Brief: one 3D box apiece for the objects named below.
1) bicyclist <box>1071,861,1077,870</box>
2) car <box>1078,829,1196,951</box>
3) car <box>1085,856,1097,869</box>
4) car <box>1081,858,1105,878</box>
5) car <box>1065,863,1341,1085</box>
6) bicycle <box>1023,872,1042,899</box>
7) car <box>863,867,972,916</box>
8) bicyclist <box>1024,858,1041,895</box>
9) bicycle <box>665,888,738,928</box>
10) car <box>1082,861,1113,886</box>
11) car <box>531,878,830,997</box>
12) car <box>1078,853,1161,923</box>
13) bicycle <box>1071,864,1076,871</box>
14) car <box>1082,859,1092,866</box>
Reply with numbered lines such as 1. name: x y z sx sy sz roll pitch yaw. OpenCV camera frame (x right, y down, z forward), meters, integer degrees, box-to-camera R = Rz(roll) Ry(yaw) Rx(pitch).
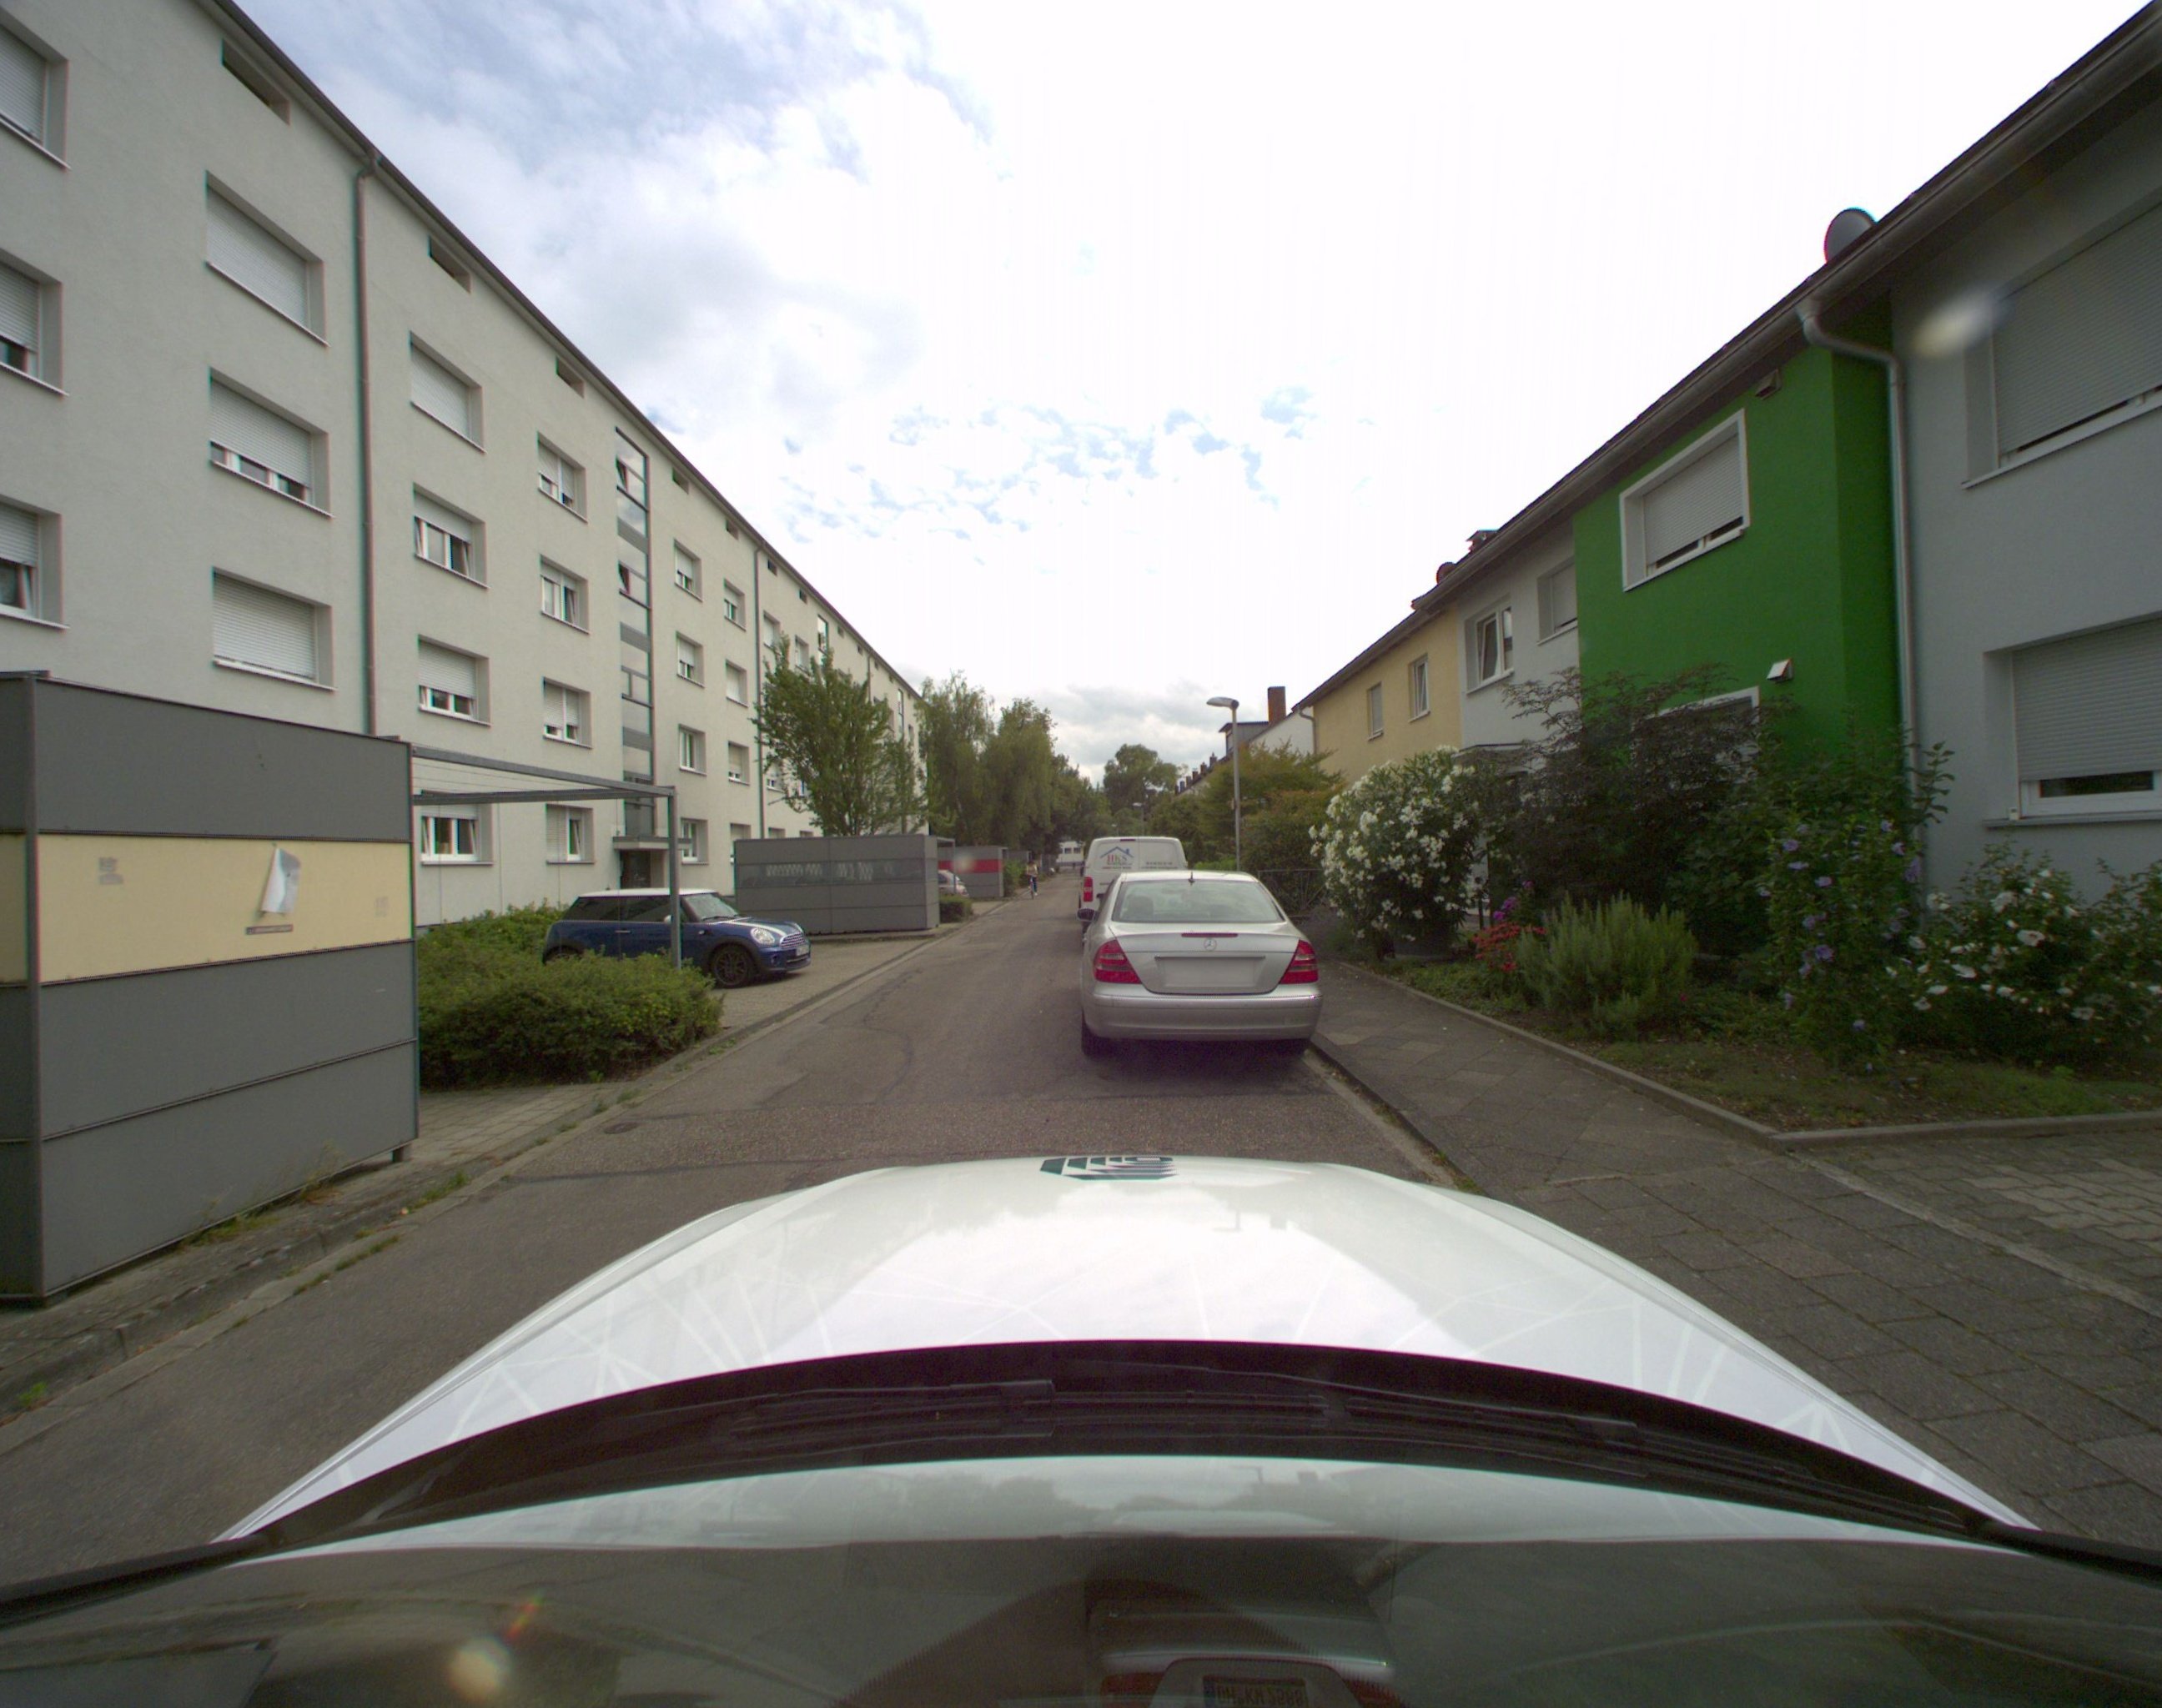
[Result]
1. bicyclist: -1.148 1.936 135.121 0.795 1.511 0.934 0 -1 2
2. car: 0.913 0.611 15.923 1.898 1.964 5.252 -1 -1 0
3. car: 1.477 1.264 124.586 1.819 1.883 4.000 0 0 1
4. car: 0.958 1.133 67.912 1.820 1.581 3.998 0 0 -1
5. car: 0.870 0.808 7.557 1.777 1.421 4.457 -1 -1 2
6. bicycle: -2.125 1.380 35.749 0.595 1.076 2.043 -3 -1 2
7. car: -5.783 1.326 29.149 3.555 1.480 1.708 -3 0 -5
8. bicyclist: -2.144 0.996 35.794 0.595 1.581 0.767 -3 -1 1
9. bicycle: -11.012 1.551 23.667 1.820 1.024 0.473 -2 -1 -41
10. car: 0.983 1.144 49.198 1.819 1.370 4.331 0 0 1
11. car: -5.907 1.206 12.271 3.619 1.461 1.654 -3 -1 3
12. car: 0.922 0.834 21.599 1.820 1.636 4.158 -1 -1 -3
13. bicycle: -1.162 2.270 135.121 0.686 1.131 2.580 0 -1 2
14. car: 1.234 1.713 165.482 1.819 1.581 4.000 0 0 1
